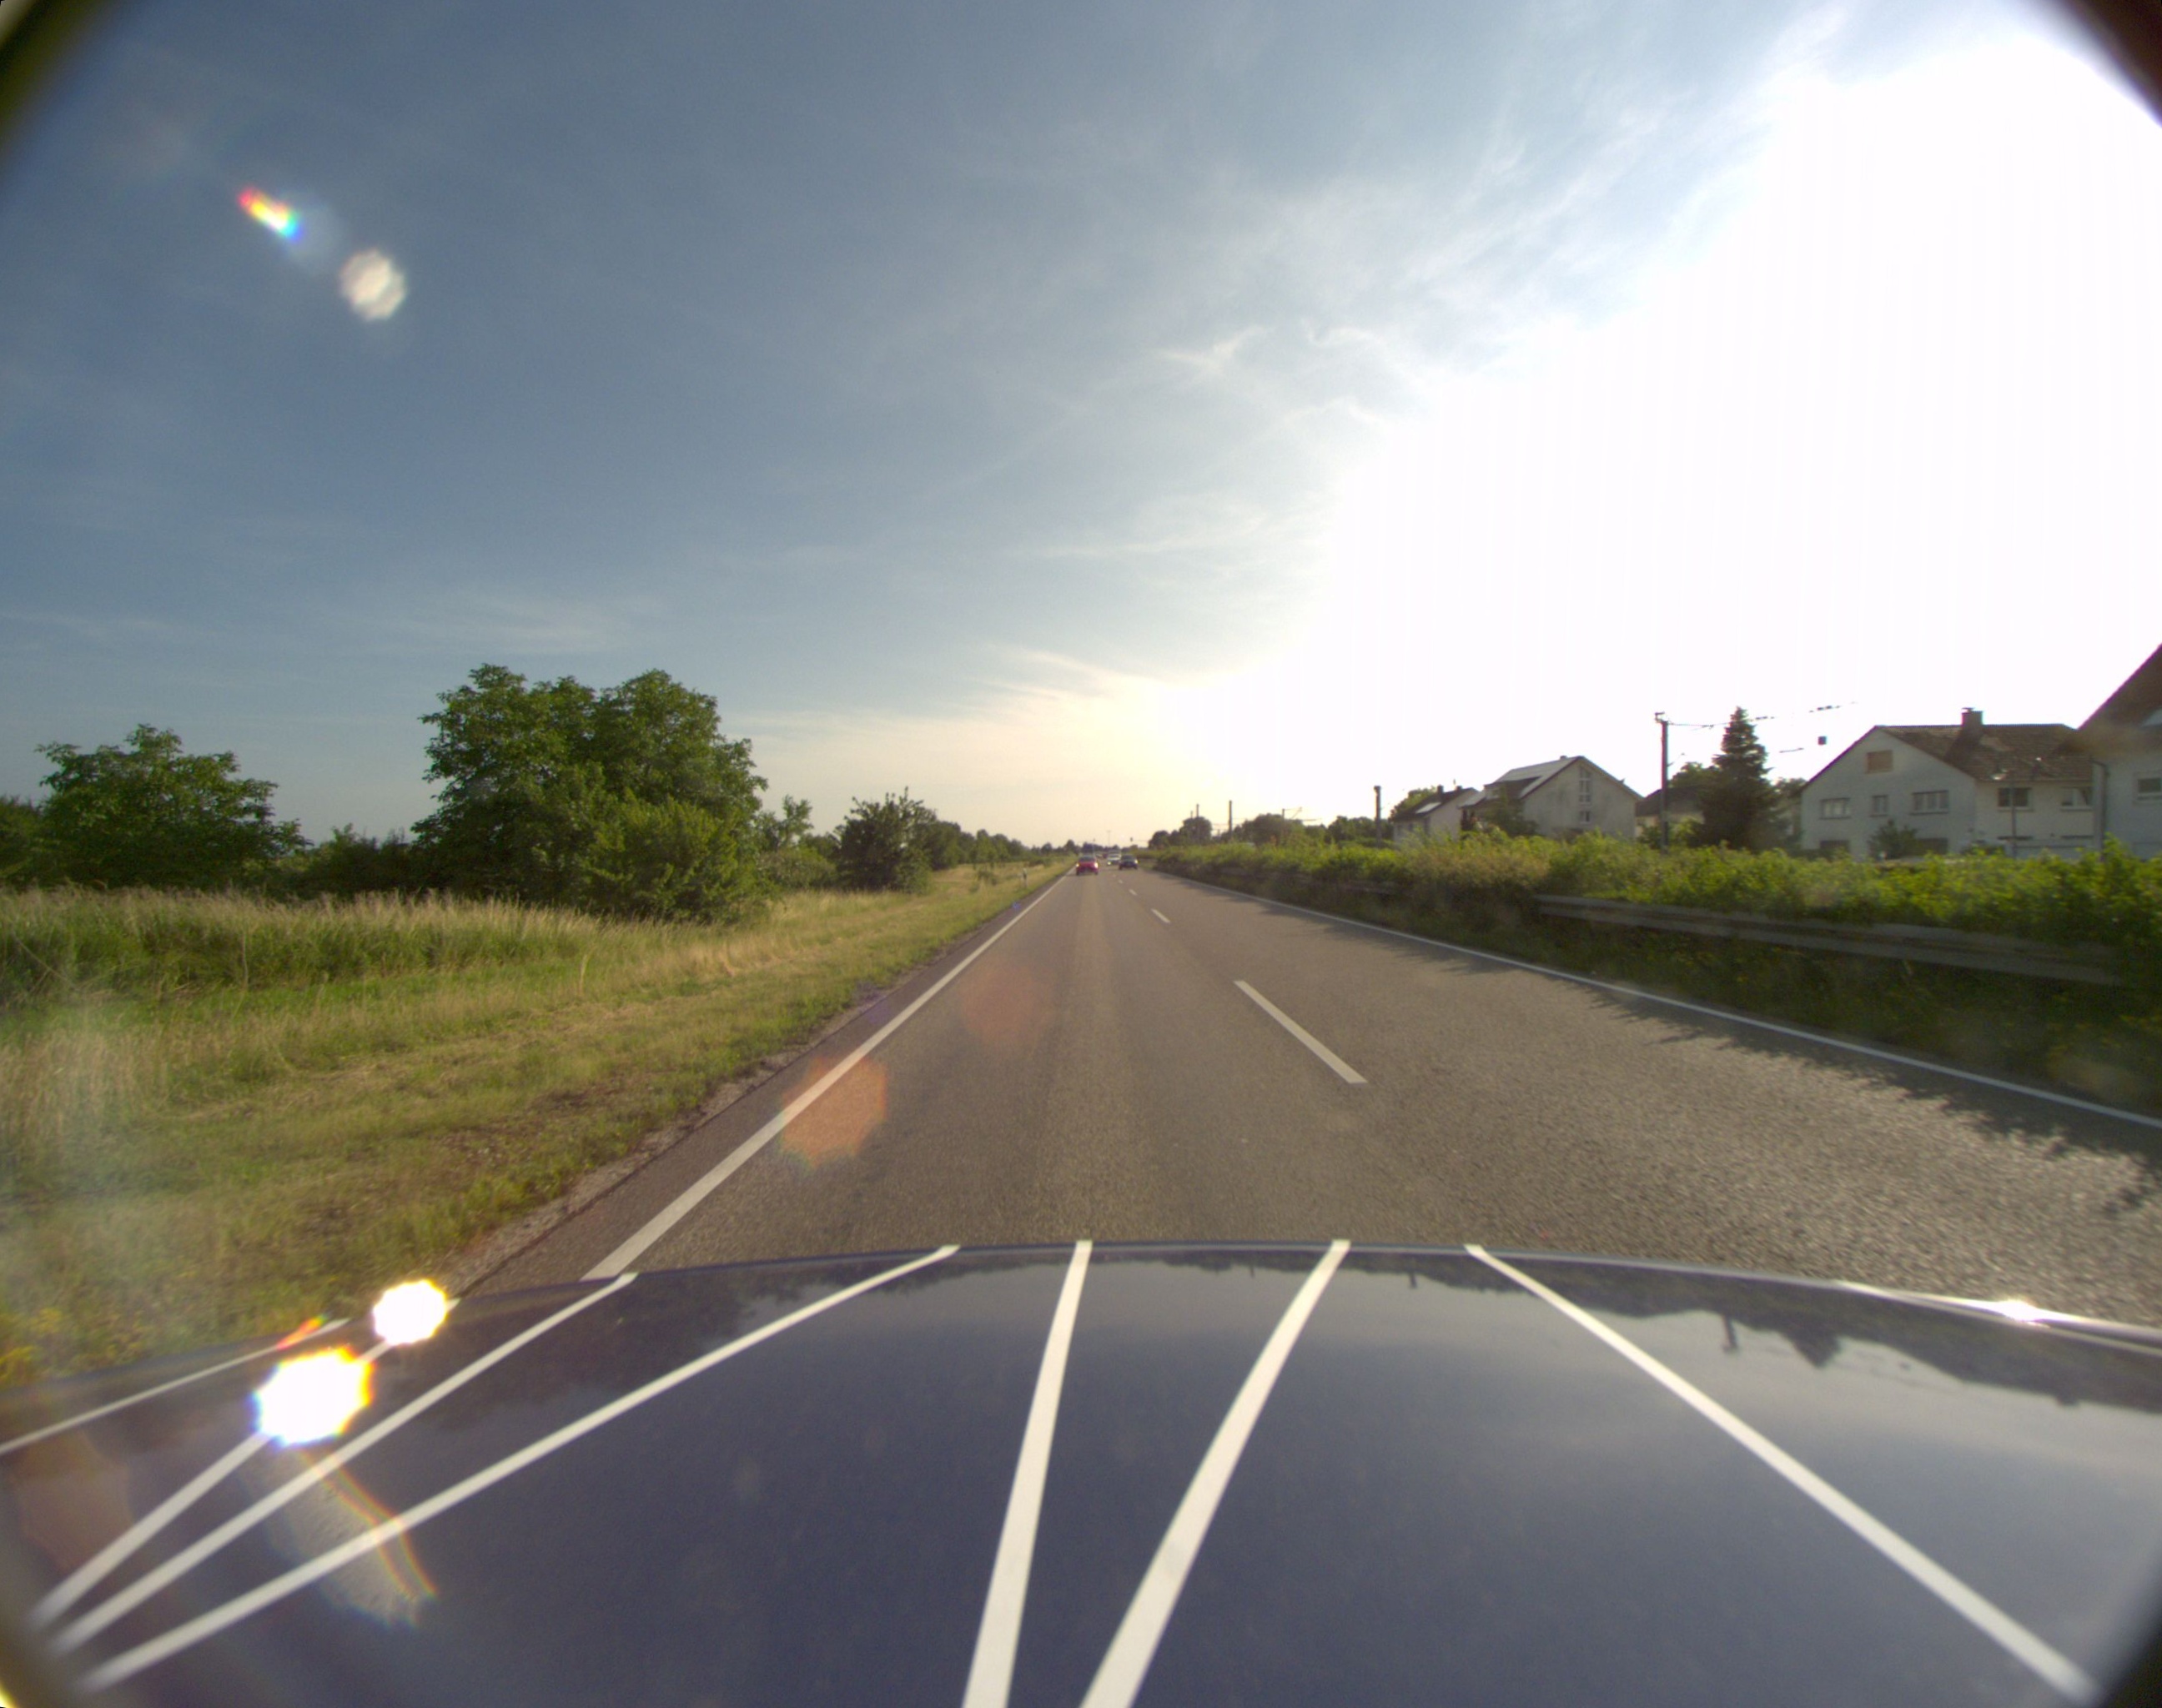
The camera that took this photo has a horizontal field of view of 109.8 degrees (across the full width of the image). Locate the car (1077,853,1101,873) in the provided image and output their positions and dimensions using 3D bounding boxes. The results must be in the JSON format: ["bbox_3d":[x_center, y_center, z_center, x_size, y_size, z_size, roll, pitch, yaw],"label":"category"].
[{"bbox_3d":[0.663,0.662,60.542,1.735,1.467,4.000,-3,0,1],"label":"car"}]

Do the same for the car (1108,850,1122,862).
[{"bbox_3d":[4.270,0.284,96.766,1.636,1.442,4.000,-3,0,1],"label":"car"}]

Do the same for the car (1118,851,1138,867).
[{"bbox_3d":[4.509,0.465,73.347,1.636,1.500,4.000,-3,0,1],"label":"car"}]

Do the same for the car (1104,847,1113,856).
[{"bbox_3d":[6.287,-0.640,172.282,1.998,2.002,4.000,-2,0,1],"label":"car"}]

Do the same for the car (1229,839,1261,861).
[{"bbox_3d":[15.774,-0.366,73.343,1.998,2.002,4.871,-3,0,1],"label":"car"}]

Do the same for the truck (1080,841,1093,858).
[{"bbox_3d":[1.411,-1.102,188.319,2.849,3.896,10.103,-3,0,1],"label":"truck"}]

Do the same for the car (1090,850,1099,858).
[{"bbox_3d":[2.737,-0.028,154.979,1.636,1.442,4.000,-3,0,1],"label":"car"}]
